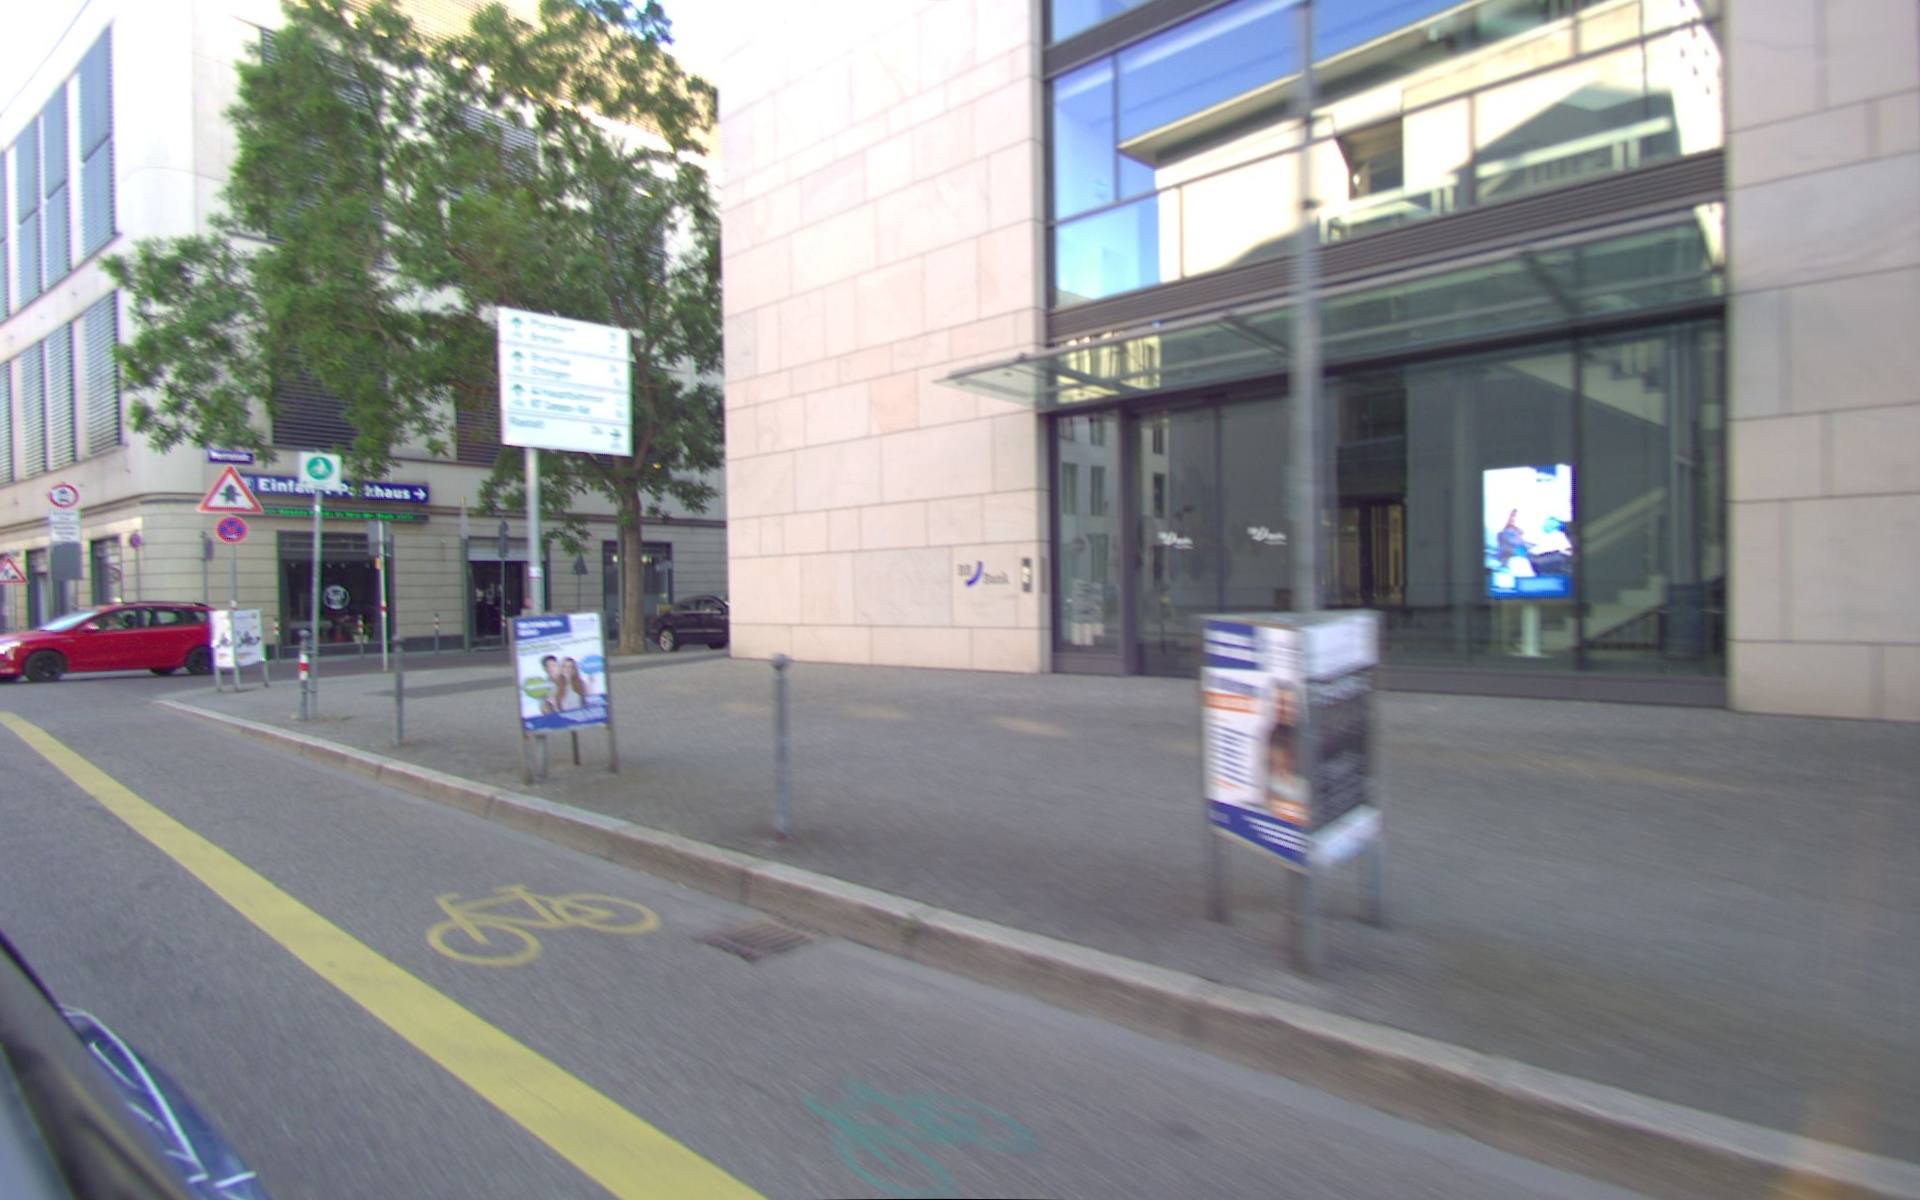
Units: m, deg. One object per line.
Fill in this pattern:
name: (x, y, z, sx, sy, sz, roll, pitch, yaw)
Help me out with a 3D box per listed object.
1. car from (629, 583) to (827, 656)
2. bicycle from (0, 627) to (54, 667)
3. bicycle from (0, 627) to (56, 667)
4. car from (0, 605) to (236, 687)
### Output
car: (-5.908, 0.523, 25.510, 5.009, 1.463, 1.976, -5, -3, 35)
bicycle: (-26.239, 1.310, 28.137, 1.493, 1.041, 0.354, -2, 0, -32)
bicycle: (-26.453, 1.323, 28.461, 1.493, 1.041, 0.354, -2, 0, -32)
car: (-17.256, 0.859, 20.212, 1.819, 1.476, 4.225, 0, -1, 26)
